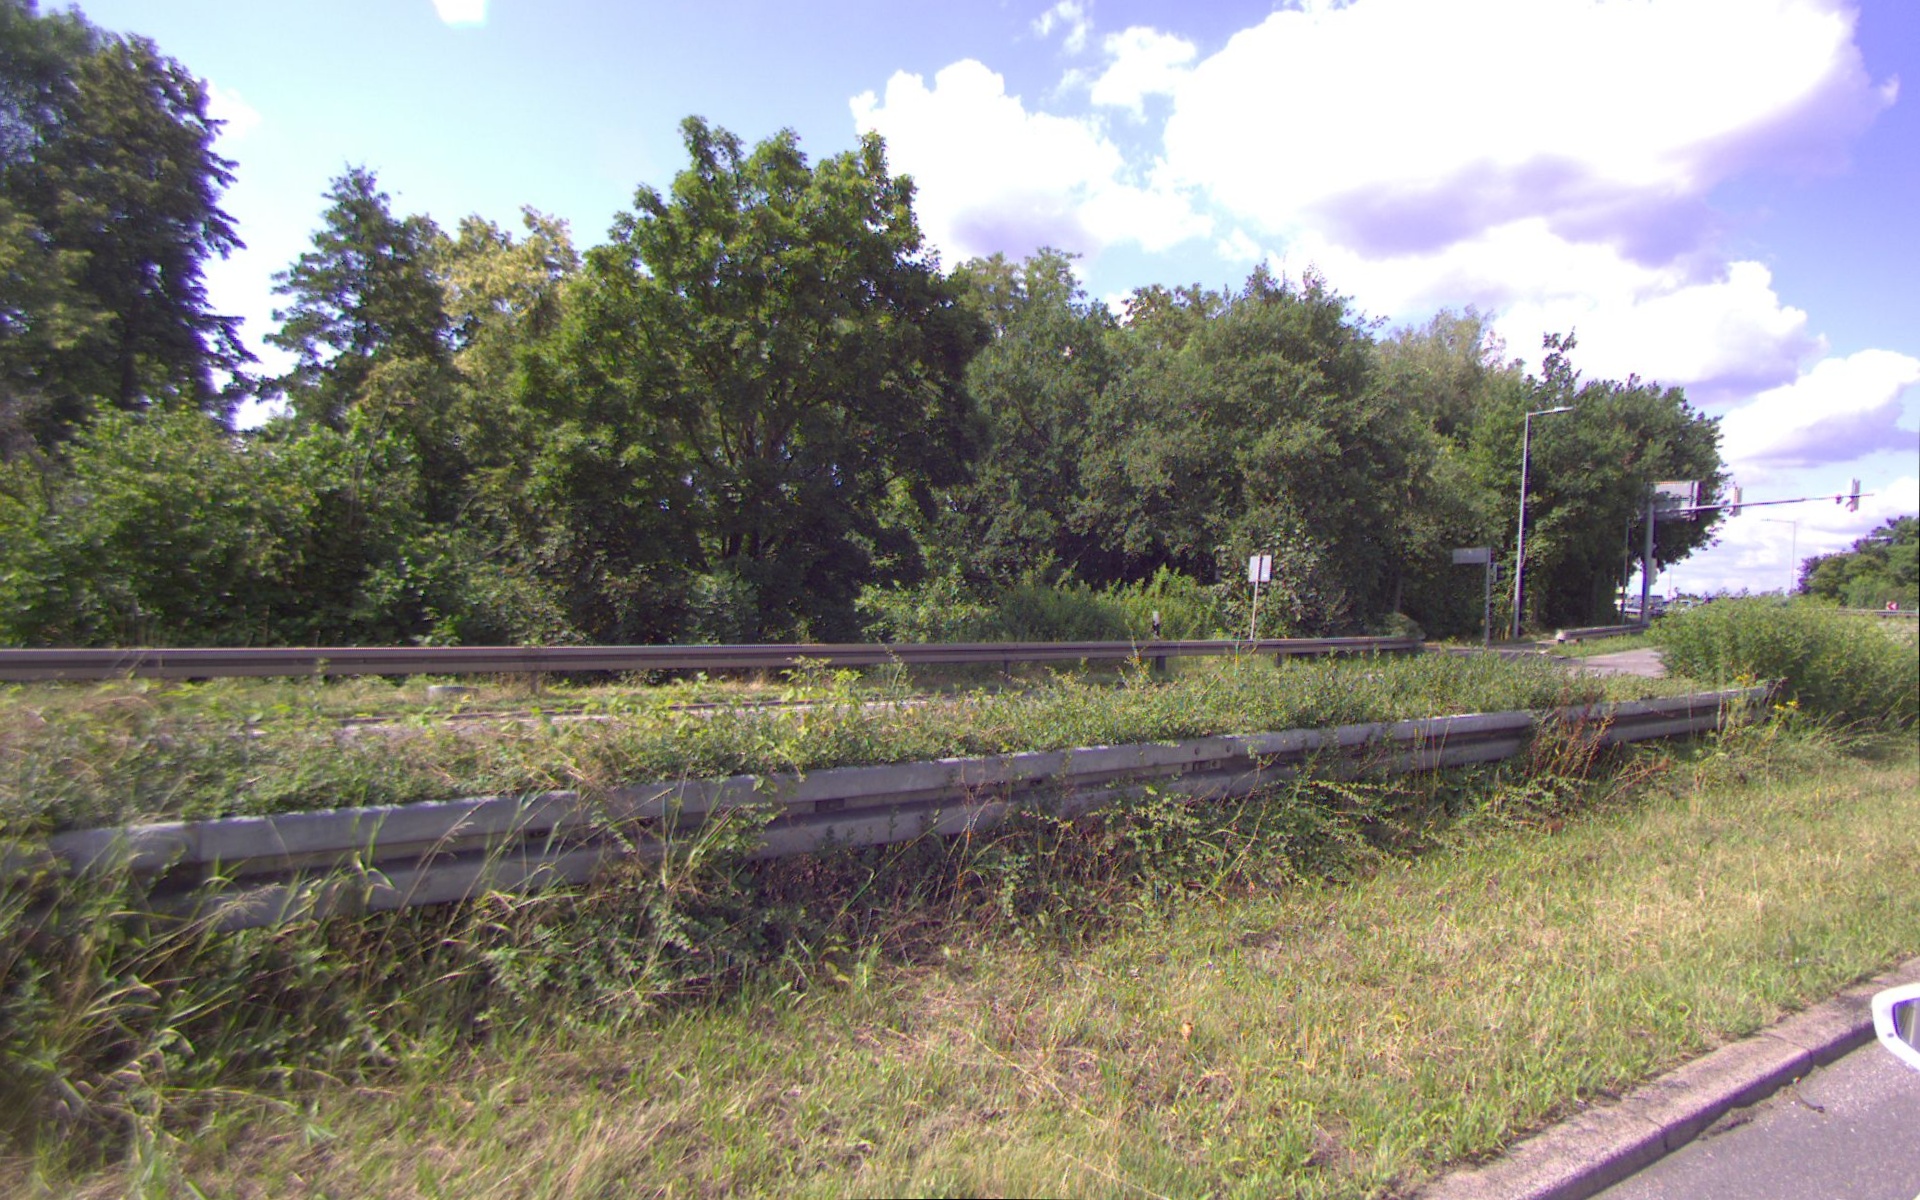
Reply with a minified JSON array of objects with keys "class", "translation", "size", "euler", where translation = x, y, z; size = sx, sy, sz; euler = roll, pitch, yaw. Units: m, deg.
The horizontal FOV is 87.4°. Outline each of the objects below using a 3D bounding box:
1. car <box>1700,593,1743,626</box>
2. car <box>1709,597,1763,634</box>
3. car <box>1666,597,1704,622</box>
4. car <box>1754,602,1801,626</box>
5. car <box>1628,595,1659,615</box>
[{"class":"car","translation":[45.000,0.546,59.412],"size":[1.819,1.826,4.311],"euler":[1,1,36]},{"class":"car","translation":[36.400,0.767,47.190],"size":[1.815,1.639,3.986],"euler":[1,-1,36]},{"class":"car","translation":[52.728,0.673,73.072],"size":[1.816,1.728,4.317],"euler":[1,1,31]},{"class":"car","translation":[51.817,0.864,63.720],"size":[1.920,1.437,3.958],"euler":[2,1,34]},{"class":"car","translation":[61.406,0.466,90.339],"size":[1.815,1.728,4.319],"euler":[1,1,29]}]
